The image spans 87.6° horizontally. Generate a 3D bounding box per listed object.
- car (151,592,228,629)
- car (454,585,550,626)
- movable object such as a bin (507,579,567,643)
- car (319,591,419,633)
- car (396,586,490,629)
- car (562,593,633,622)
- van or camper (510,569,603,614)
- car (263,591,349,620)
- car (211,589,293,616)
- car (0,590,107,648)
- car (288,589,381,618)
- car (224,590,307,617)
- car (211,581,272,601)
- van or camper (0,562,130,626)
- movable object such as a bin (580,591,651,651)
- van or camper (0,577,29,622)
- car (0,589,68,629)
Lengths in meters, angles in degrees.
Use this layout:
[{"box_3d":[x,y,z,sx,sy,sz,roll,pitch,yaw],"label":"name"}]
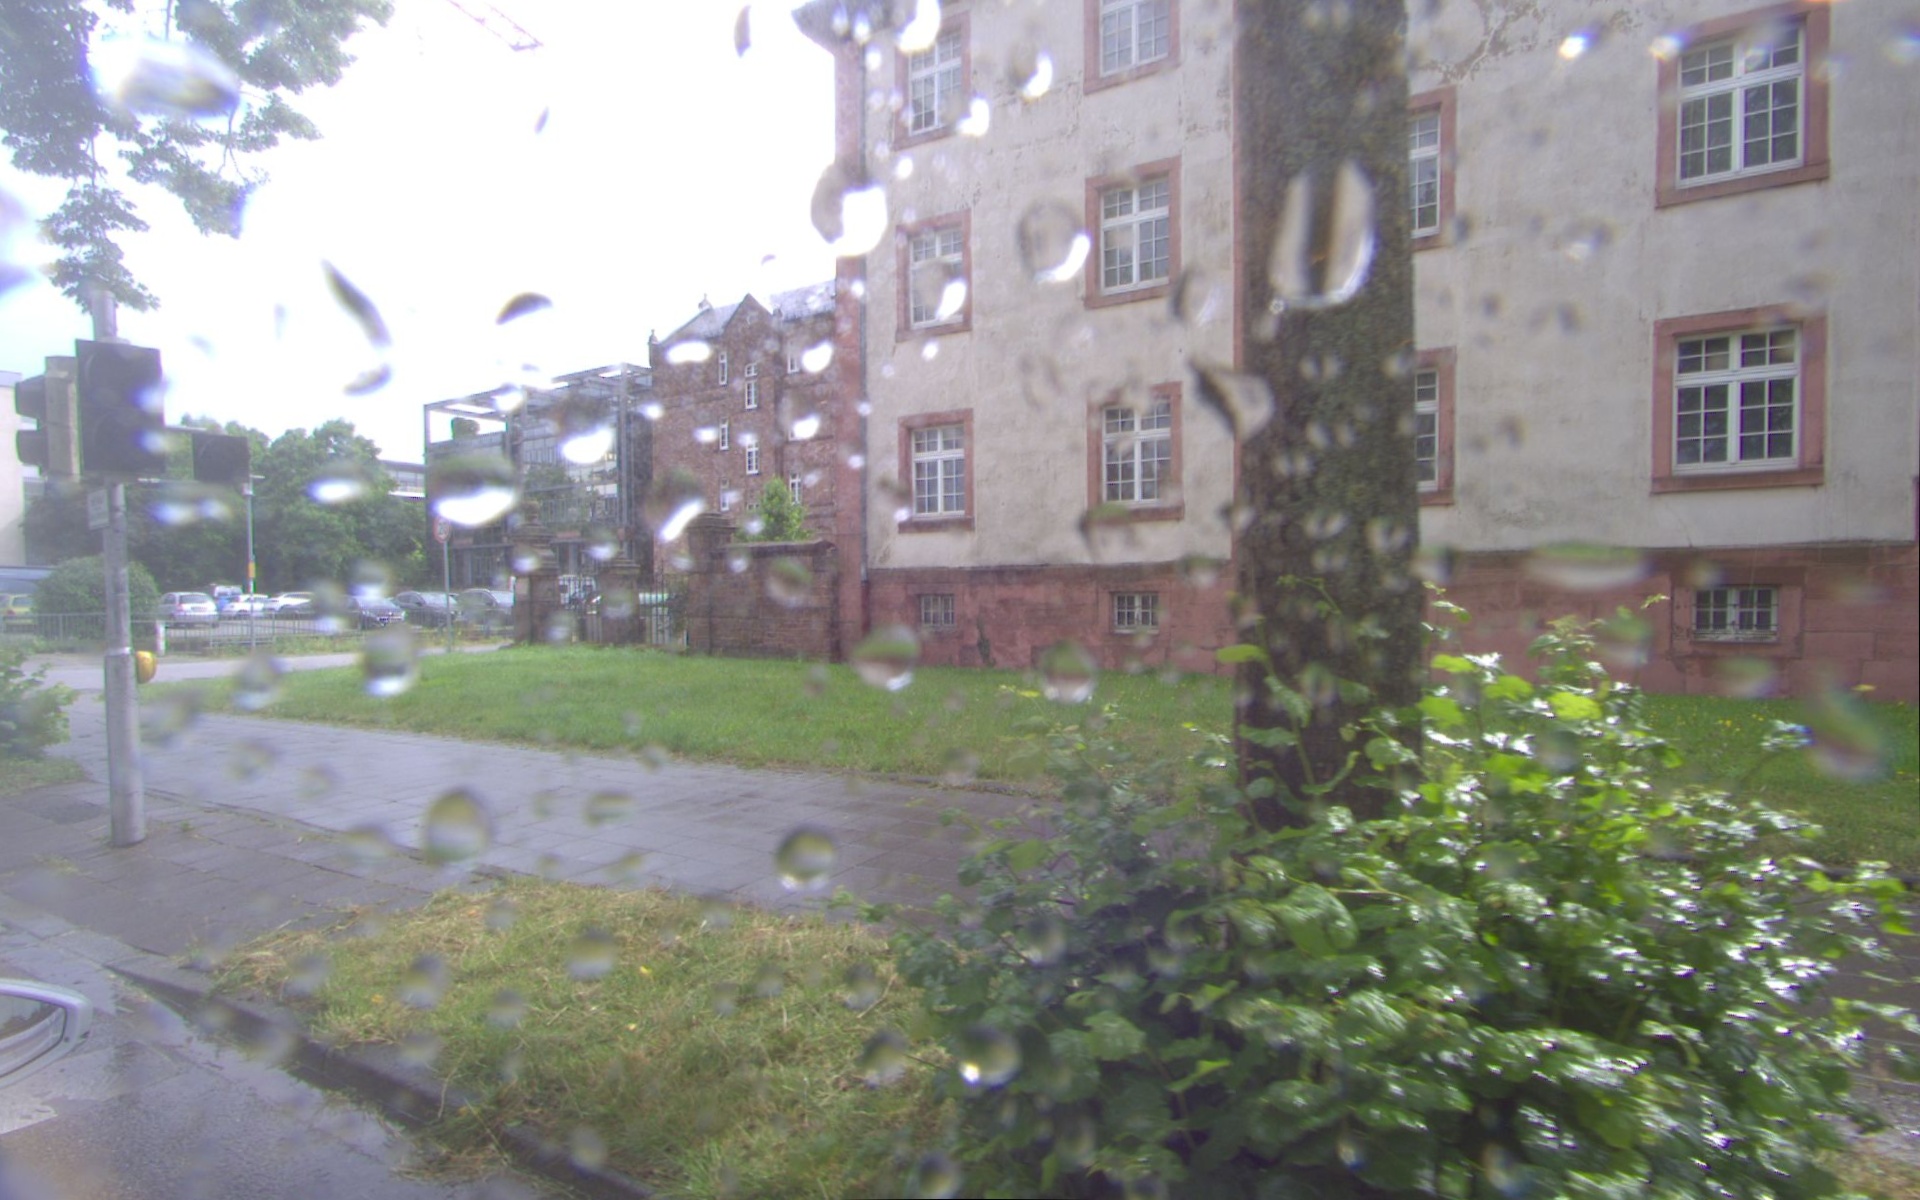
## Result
[{"box_3d":[-33.576,0.442,43.603,3.668,1.506,1.643,0,1,36],"label":"car"},{"box_3d":[-19.899,0.214,43.452,4.363,1.702,1.847,0,1,35],"label":"car"},{"box_3d":[-10.059,0.246,23.816,1.081,1.477,0.797,1,3,34],"label":"movable object such as a bin"},{"box_3d":[-23.117,0.426,39.118,4.366,1.547,1.822,0,1,38],"label":"car"},{"box_3d":[-21.606,0.291,41.798,4.368,1.702,1.845,0,1,39],"label":"car"},{"box_3d":[-21.366,0.410,59.107,1.649,1.598,3.656,0,1,34],"label":"car"},{"box_3d":[-24.078,-0.449,59.969,2.226,2.518,4.778,-1,-2,32],"label":"van or camper"},{"box_3d":[-36.196,0.294,55.473,1.617,1.506,3.654,0,1,36],"label":"car"},{"box_3d":[-42.363,0.146,59.945,1.617,1.506,3.654,0,1,36],"label":"car"},{"box_3d":[-29.918,0.584,32.933,4.180,1.773,1.798,0,1,35],"label":"car"},{"box_3d":[-34.081,0.192,54.667,1.649,1.485,3.962,0,1,34],"label":"car"},{"box_3d":[-40.574,0.188,58.568,1.617,1.506,3.654,0,1,36],"label":"car"},{"box_3d":[-51.146,-0.654,71.310,1.489,1.416,3.214,0,1,36],"label":"car"},{"box_3d":[-38.919,-0.225,42.697,2.145,2.588,4.985,-1,0,34],"label":"van or camper"},{"box_3d":[-8.930,0.531,25.939,1.371,1.477,1.103,1,3,34],"label":"movable object such as a bin"},{"box_3d":[-47.805,-0.034,47.663,2.291,2.160,4.743,1,1,36],"label":"van or camper"},{"box_3d":[-36.684,0.328,39.364,3.370,1.468,1.606,0,1,34],"label":"car"}]
